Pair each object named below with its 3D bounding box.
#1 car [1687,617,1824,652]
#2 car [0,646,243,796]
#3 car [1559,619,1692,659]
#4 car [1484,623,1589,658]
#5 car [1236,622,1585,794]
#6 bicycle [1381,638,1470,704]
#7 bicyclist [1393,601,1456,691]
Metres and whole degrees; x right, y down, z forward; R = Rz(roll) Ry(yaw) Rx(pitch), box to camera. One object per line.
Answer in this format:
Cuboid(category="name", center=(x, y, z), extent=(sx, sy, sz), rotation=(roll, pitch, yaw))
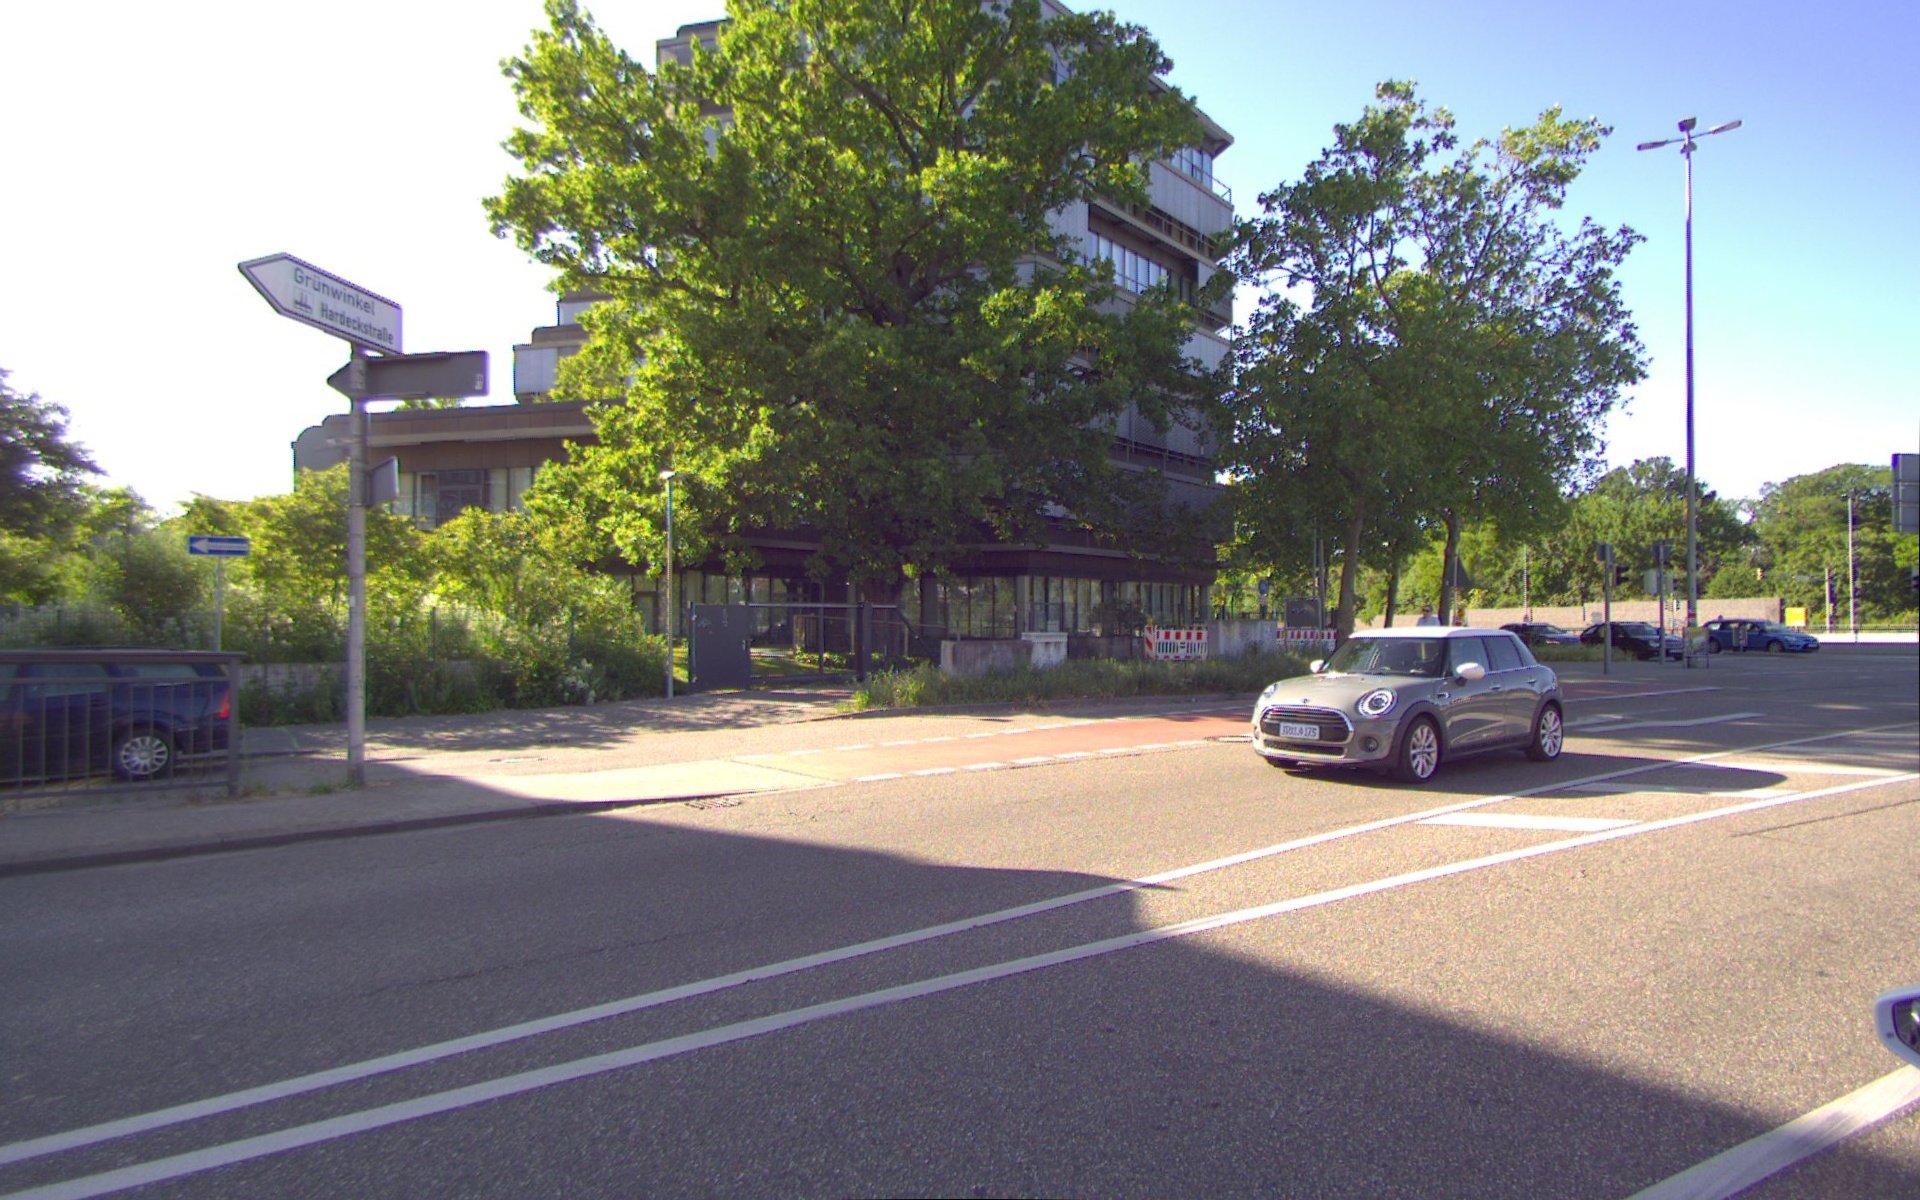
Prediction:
Cuboid(category="car", center=(34.245, 1.476, 43.400), extent=(1.796, 1.457, 4.436), rotation=(0, -2, -16))
Cuboid(category="car", center=(-10.768, 1.322, 11.238), extent=(4.411, 1.523, 1.806), rotation=(1, -2, -38))
Cuboid(category="car", center=(25.572, 1.479, 38.805), extent=(1.792, 1.457, 4.446), rotation=(0, -2, -7))
Cuboid(category="car", center=(25.863, 1.806, 45.286), extent=(1.792, 1.457, 4.446), rotation=(0, -2, -7))
Cuboid(category="car", center=(4.845, 0.986, 10.635), extent=(3.875, 1.476, 1.675), rotation=(0, -1, -36))
Cuboid(category="bicycle", center=(9.311, 1.376, 20.039), extent=(2.307, 1.218, 0.681), rotation=(1, -1, -40))
Cuboid(category="bicyclist", center=(9.260, 0.895, 20.005), extent=(1.188, 1.723, 0.681), rotation=(1, -1, -40))
